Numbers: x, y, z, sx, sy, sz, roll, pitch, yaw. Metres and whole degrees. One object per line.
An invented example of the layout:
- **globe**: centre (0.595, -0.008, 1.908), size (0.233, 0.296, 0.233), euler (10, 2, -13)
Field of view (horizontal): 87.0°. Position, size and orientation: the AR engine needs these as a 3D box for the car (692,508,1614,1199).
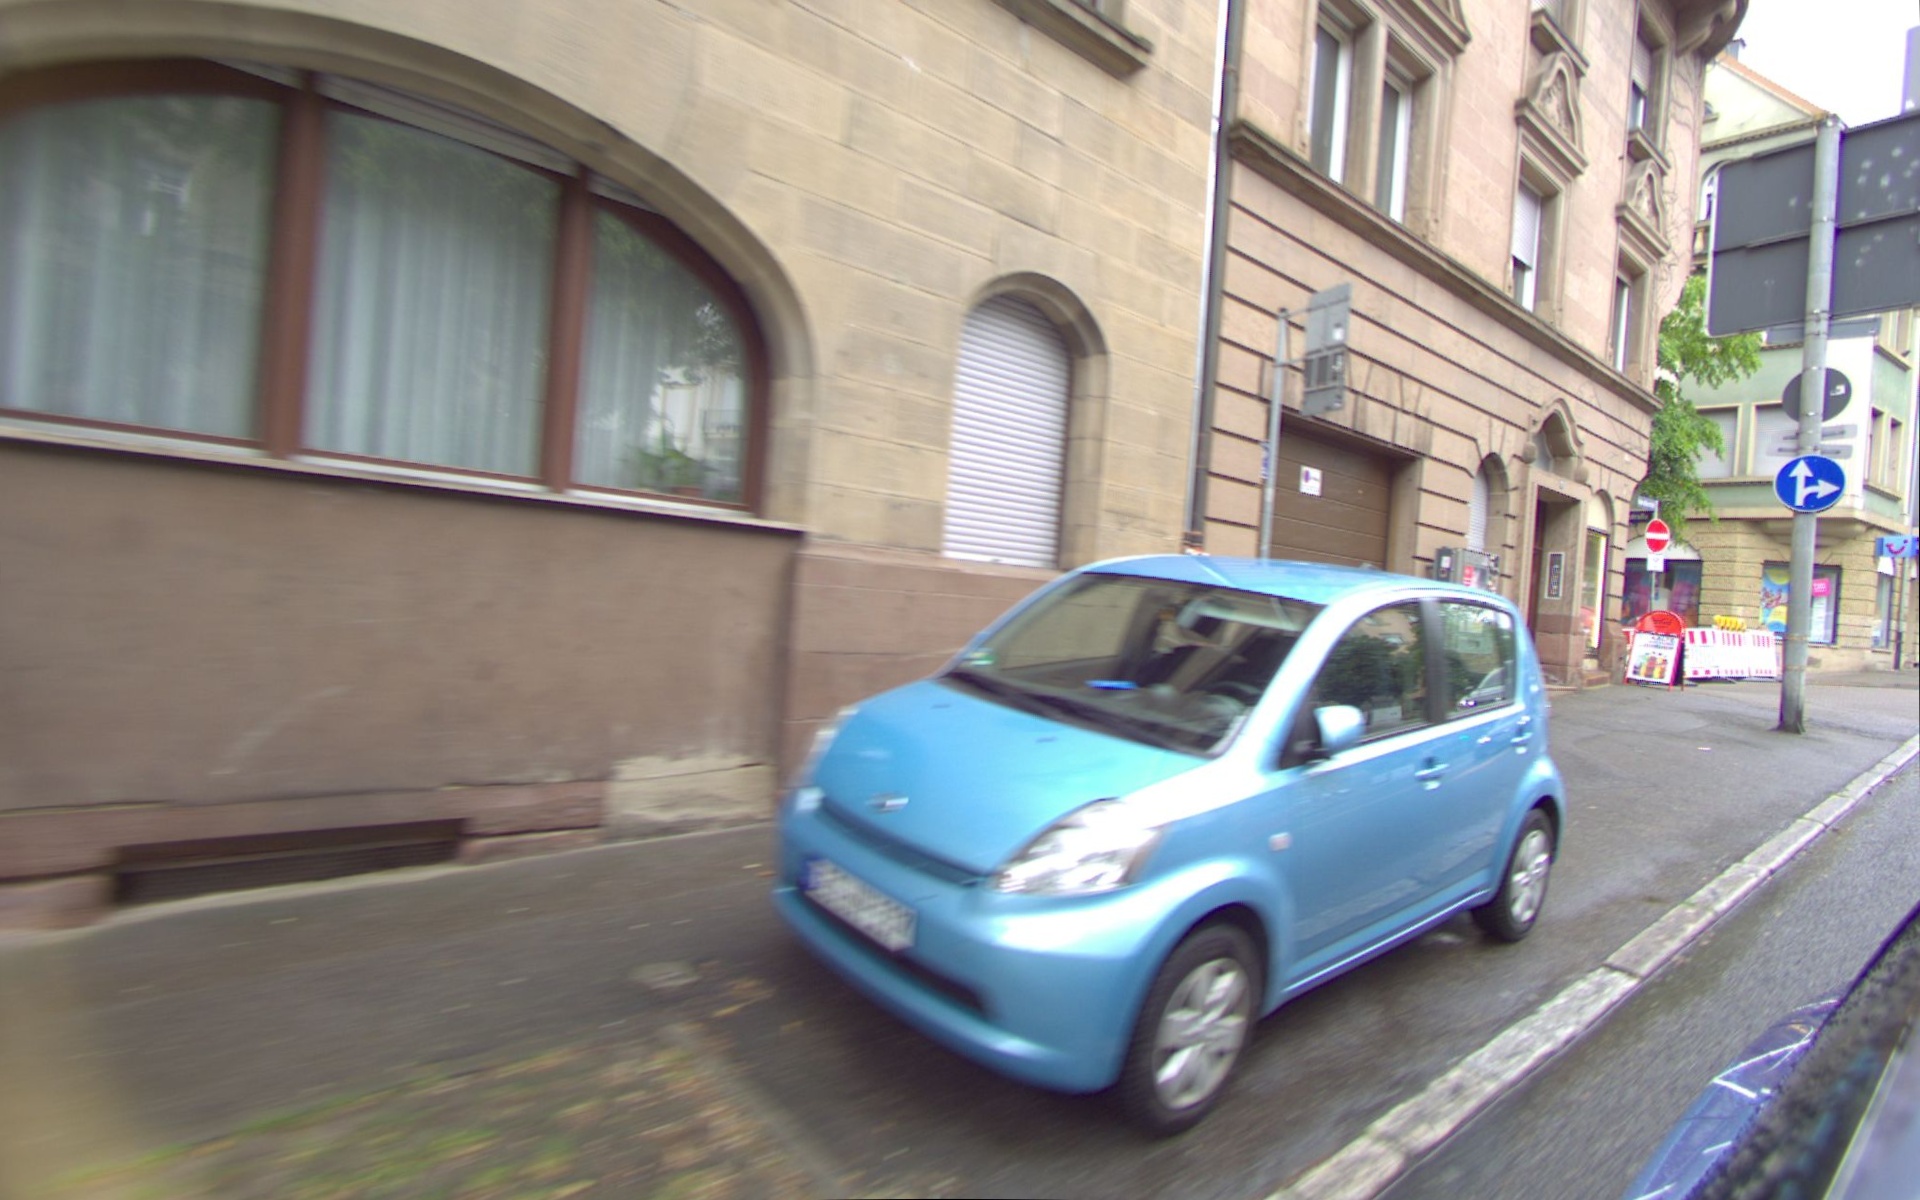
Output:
- **car**: centre (1.005, 0.530, 3.997), size (3.602, 1.561, 1.660), euler (0, 4, -41)
